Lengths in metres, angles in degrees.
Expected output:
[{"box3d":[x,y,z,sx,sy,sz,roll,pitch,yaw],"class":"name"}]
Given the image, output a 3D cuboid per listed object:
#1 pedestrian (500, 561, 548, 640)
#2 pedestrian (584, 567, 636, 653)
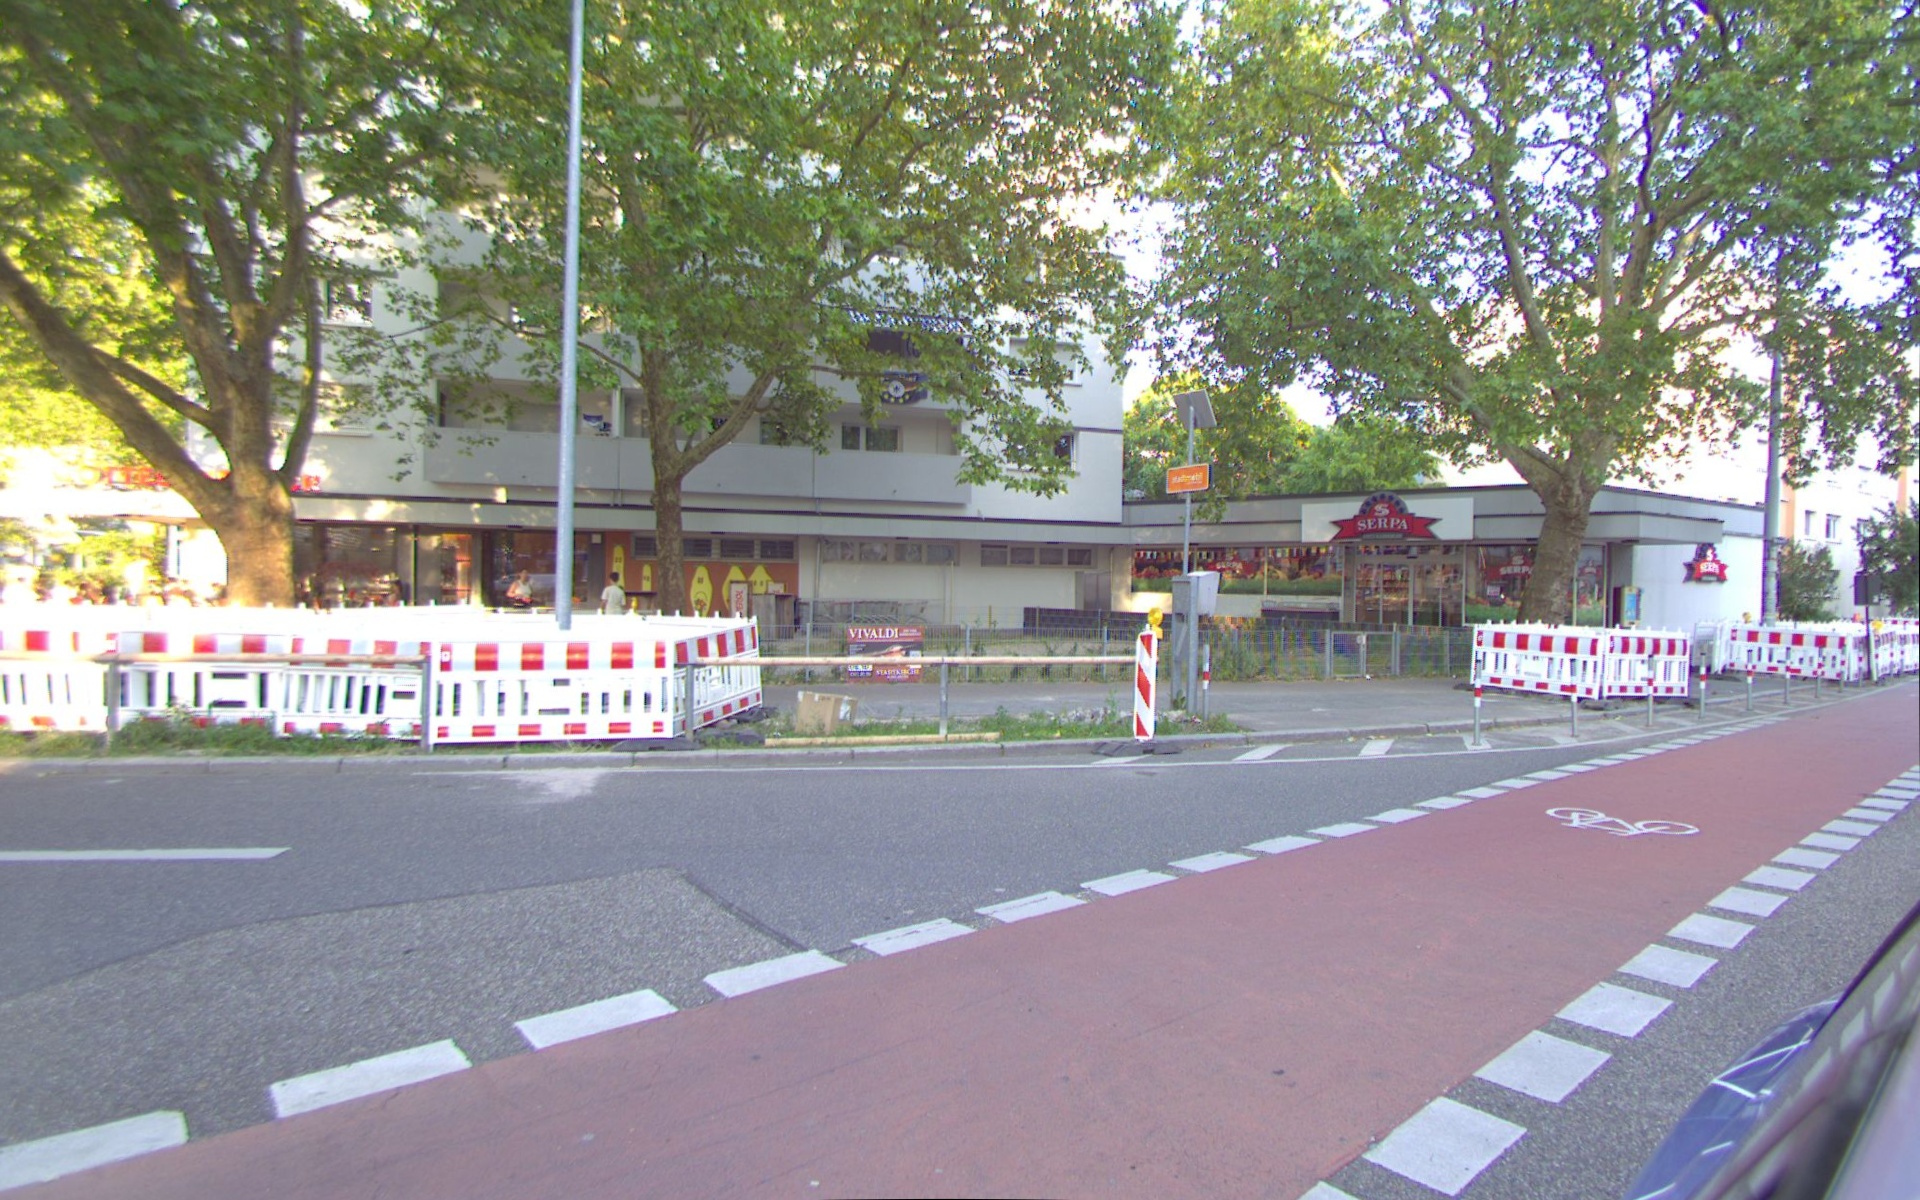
[{"box3d":[-9.082,0.009,21.075,0.639,1.608,0.735,0,0,43],"class":"pedestrian"},{"box3d":[-6.723,0.187,19.436,0.639,1.608,0.735,0,0,43],"class":"pedestrian"}]
